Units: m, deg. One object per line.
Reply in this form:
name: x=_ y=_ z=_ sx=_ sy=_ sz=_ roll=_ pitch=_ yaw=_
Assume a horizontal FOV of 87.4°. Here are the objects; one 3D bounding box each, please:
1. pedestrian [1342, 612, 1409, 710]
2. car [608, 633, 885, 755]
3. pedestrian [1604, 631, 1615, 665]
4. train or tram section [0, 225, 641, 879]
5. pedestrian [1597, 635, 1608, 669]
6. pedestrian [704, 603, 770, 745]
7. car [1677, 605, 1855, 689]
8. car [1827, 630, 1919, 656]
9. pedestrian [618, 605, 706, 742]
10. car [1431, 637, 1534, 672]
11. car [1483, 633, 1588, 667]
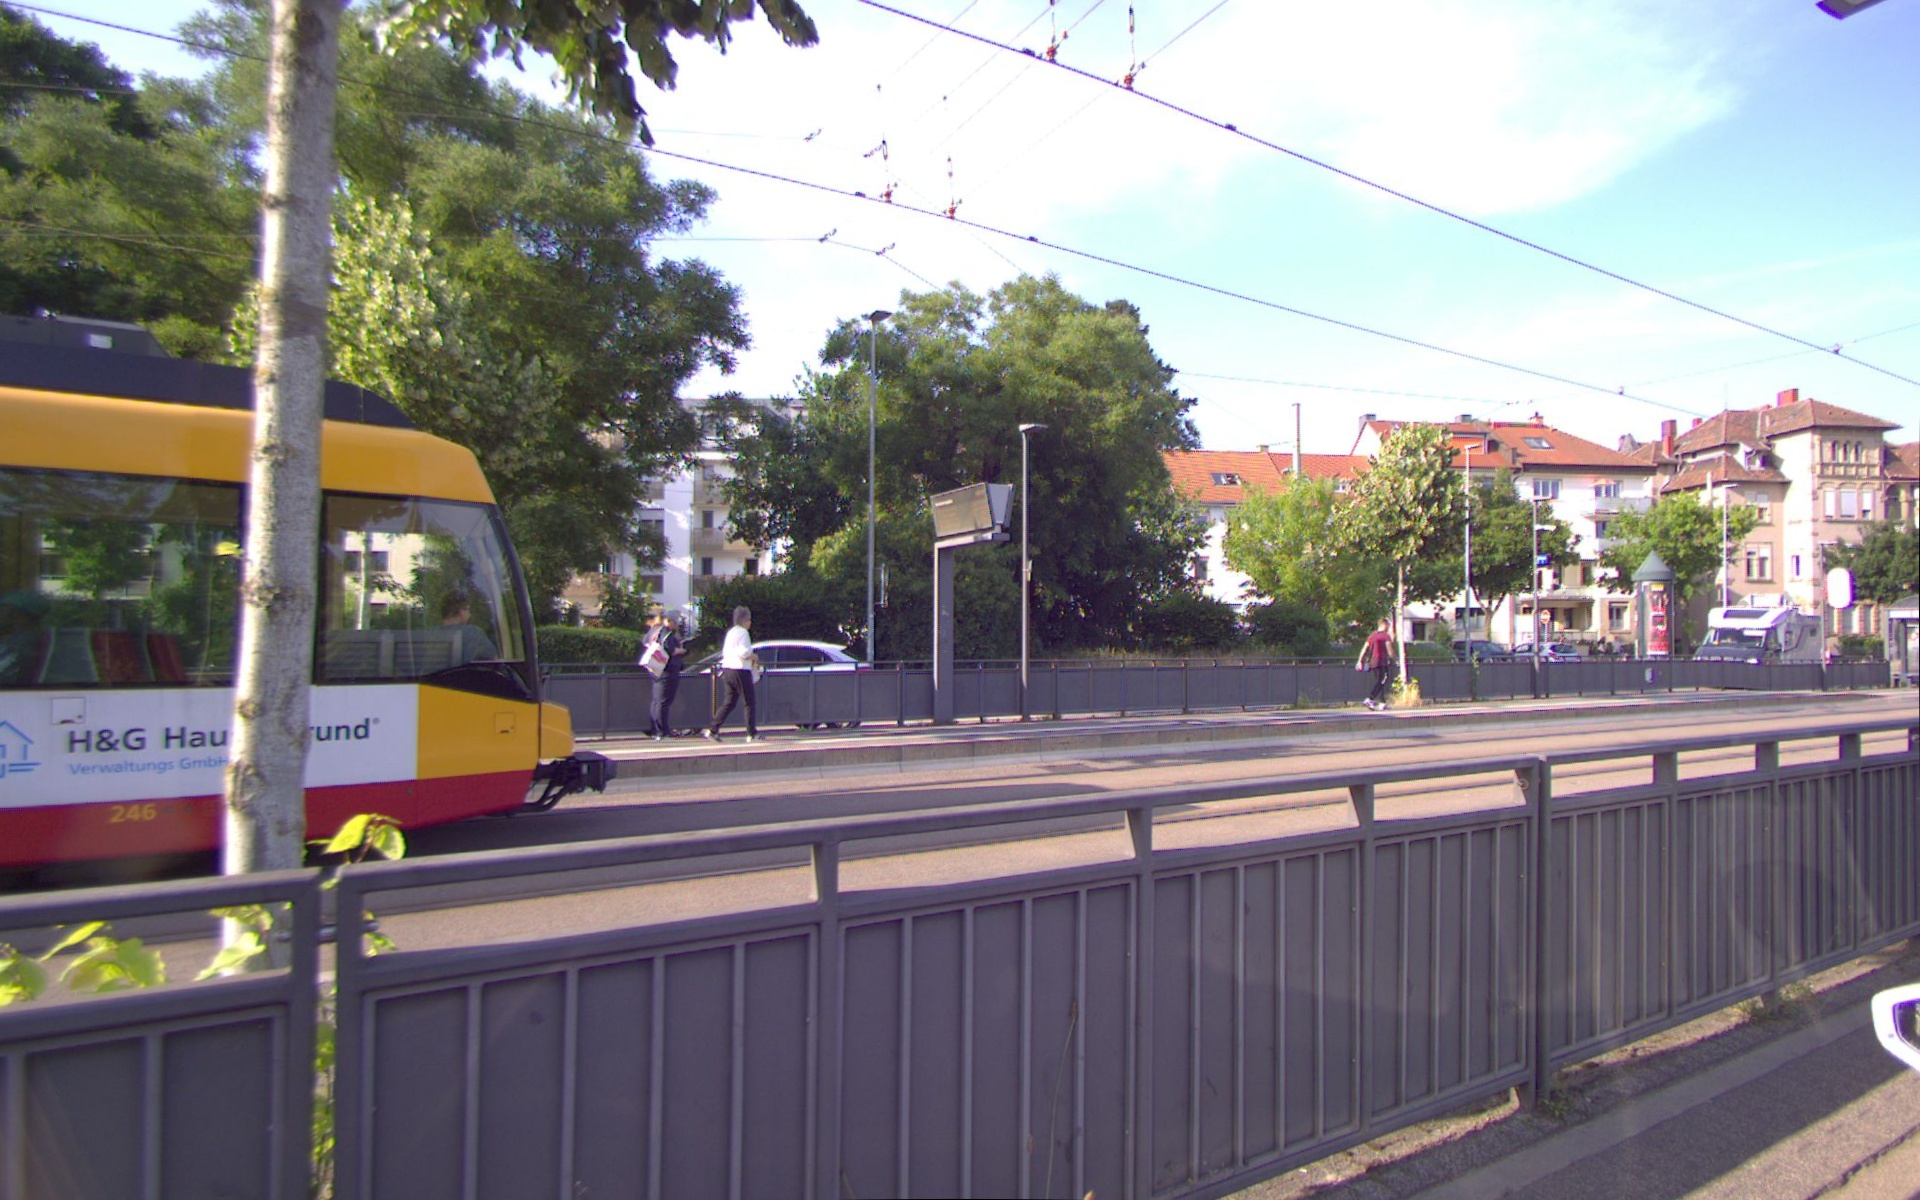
pedestrian: x=7.675 y=1.110 z=18.568 sx=0.763 sy=1.756 sz=0.832 roll=1 pitch=-2 yaw=-29
car: x=-3.424 y=1.399 z=16.213 sx=3.954 sy=1.706 sz=1.983 roll=1 pitch=-1 yaw=-31
pedestrian: x=40.143 y=2.960 z=62.100 sx=0.426 sy=2.040 sz=0.421 roll=1 pitch=-1 yaw=-11
train or tram section: x=-9.224 y=-0.300 z=4.906 sx=14.298 sy=3.525 sz=3.147 roll=1 pitch=-1 yaw=-30
pedestrian: x=38.603 y=3.136 z=60.370 sx=0.400 sy=2.040 sz=0.383 roll=1 pitch=-1 yaw=-11
pedestrian: x=-2.716 y=0.884 z=12.213 sx=0.601 sy=1.663 sz=0.578 roll=1 pitch=-3 yaw=-34
car: x=28.958 y=1.631 z=36.005 sx=7.382 sy=2.771 sz=2.584 roll=1 pitch=-1 yaw=-31
car: x=59.374 y=2.763 z=65.169 sx=4.628 sy=1.649 sz=2.209 roll=1 pitch=-1 yaw=-7
pedestrian: x=-3.765 y=0.900 z=12.705 sx=0.656 sy=1.663 sz=0.859 roll=-1 pitch=-1 yaw=44
car: x=23.506 y=2.426 z=45.367 sx=1.966 sy=1.416 sz=3.988 roll=1 pitch=-1 yaw=-15
car: x=26.274 y=2.254 z=45.994 sx=1.967 sy=1.416 sz=3.988 roll=1 pitch=-1 yaw=-15
